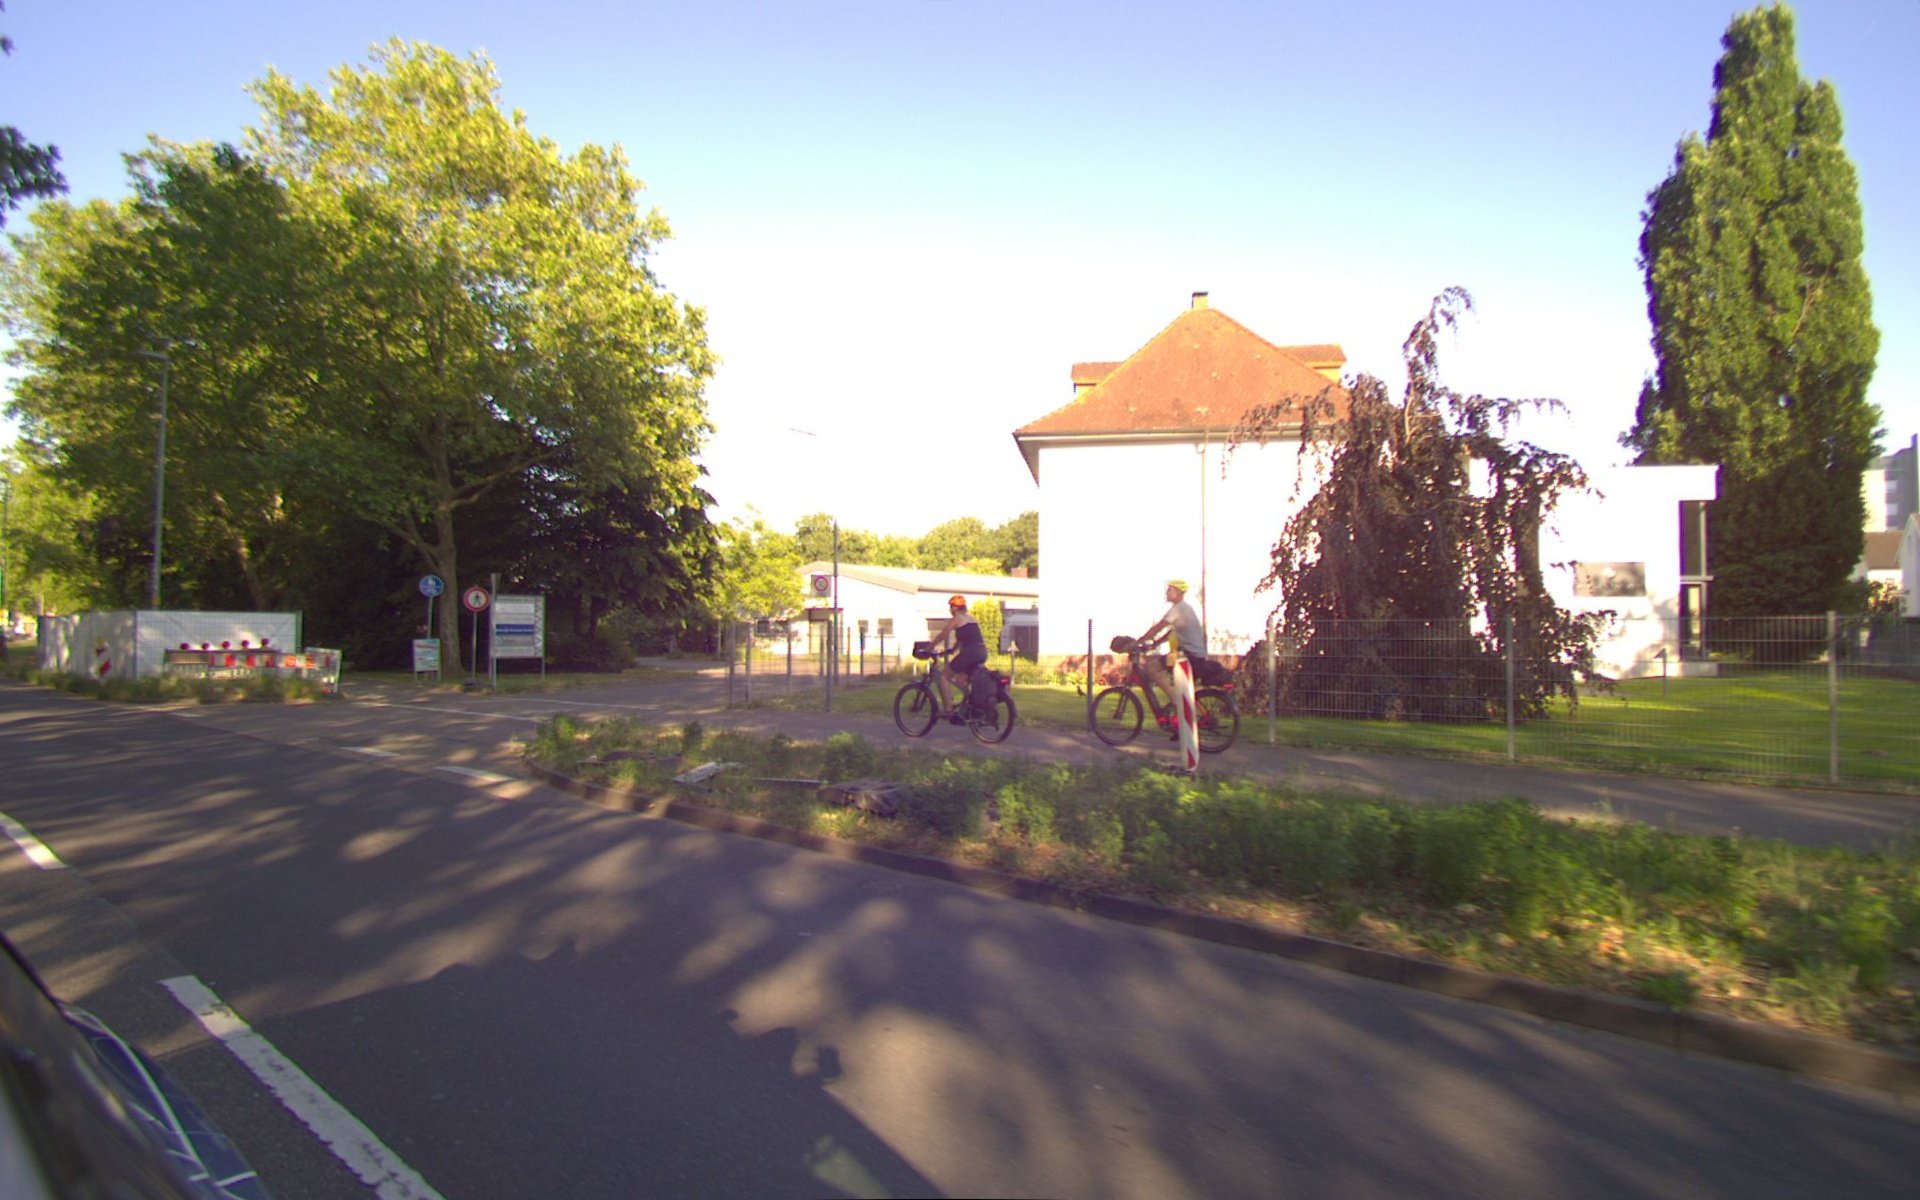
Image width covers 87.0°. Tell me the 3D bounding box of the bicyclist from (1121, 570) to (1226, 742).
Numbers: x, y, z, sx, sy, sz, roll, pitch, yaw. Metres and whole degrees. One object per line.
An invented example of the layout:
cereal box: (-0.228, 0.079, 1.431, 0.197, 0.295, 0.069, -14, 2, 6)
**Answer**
bicyclist: (2.403, 0.615, 11.419, 0.967, 1.845, 0.573, -2, -1, 40)

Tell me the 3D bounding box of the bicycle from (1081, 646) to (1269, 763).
bicycle: (2.390, 1.132, 11.435, 2.031, 1.195, 0.573, -2, -1, 40)

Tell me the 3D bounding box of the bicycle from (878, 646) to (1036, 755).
bicycle: (-0.075, 1.204, 12.622, 2.106, 1.255, 0.573, -2, -3, 40)

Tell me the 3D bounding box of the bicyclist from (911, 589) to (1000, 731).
bicyclist: (-0.058, 0.734, 12.619, 0.970, 1.692, 0.573, -2, -3, 40)
